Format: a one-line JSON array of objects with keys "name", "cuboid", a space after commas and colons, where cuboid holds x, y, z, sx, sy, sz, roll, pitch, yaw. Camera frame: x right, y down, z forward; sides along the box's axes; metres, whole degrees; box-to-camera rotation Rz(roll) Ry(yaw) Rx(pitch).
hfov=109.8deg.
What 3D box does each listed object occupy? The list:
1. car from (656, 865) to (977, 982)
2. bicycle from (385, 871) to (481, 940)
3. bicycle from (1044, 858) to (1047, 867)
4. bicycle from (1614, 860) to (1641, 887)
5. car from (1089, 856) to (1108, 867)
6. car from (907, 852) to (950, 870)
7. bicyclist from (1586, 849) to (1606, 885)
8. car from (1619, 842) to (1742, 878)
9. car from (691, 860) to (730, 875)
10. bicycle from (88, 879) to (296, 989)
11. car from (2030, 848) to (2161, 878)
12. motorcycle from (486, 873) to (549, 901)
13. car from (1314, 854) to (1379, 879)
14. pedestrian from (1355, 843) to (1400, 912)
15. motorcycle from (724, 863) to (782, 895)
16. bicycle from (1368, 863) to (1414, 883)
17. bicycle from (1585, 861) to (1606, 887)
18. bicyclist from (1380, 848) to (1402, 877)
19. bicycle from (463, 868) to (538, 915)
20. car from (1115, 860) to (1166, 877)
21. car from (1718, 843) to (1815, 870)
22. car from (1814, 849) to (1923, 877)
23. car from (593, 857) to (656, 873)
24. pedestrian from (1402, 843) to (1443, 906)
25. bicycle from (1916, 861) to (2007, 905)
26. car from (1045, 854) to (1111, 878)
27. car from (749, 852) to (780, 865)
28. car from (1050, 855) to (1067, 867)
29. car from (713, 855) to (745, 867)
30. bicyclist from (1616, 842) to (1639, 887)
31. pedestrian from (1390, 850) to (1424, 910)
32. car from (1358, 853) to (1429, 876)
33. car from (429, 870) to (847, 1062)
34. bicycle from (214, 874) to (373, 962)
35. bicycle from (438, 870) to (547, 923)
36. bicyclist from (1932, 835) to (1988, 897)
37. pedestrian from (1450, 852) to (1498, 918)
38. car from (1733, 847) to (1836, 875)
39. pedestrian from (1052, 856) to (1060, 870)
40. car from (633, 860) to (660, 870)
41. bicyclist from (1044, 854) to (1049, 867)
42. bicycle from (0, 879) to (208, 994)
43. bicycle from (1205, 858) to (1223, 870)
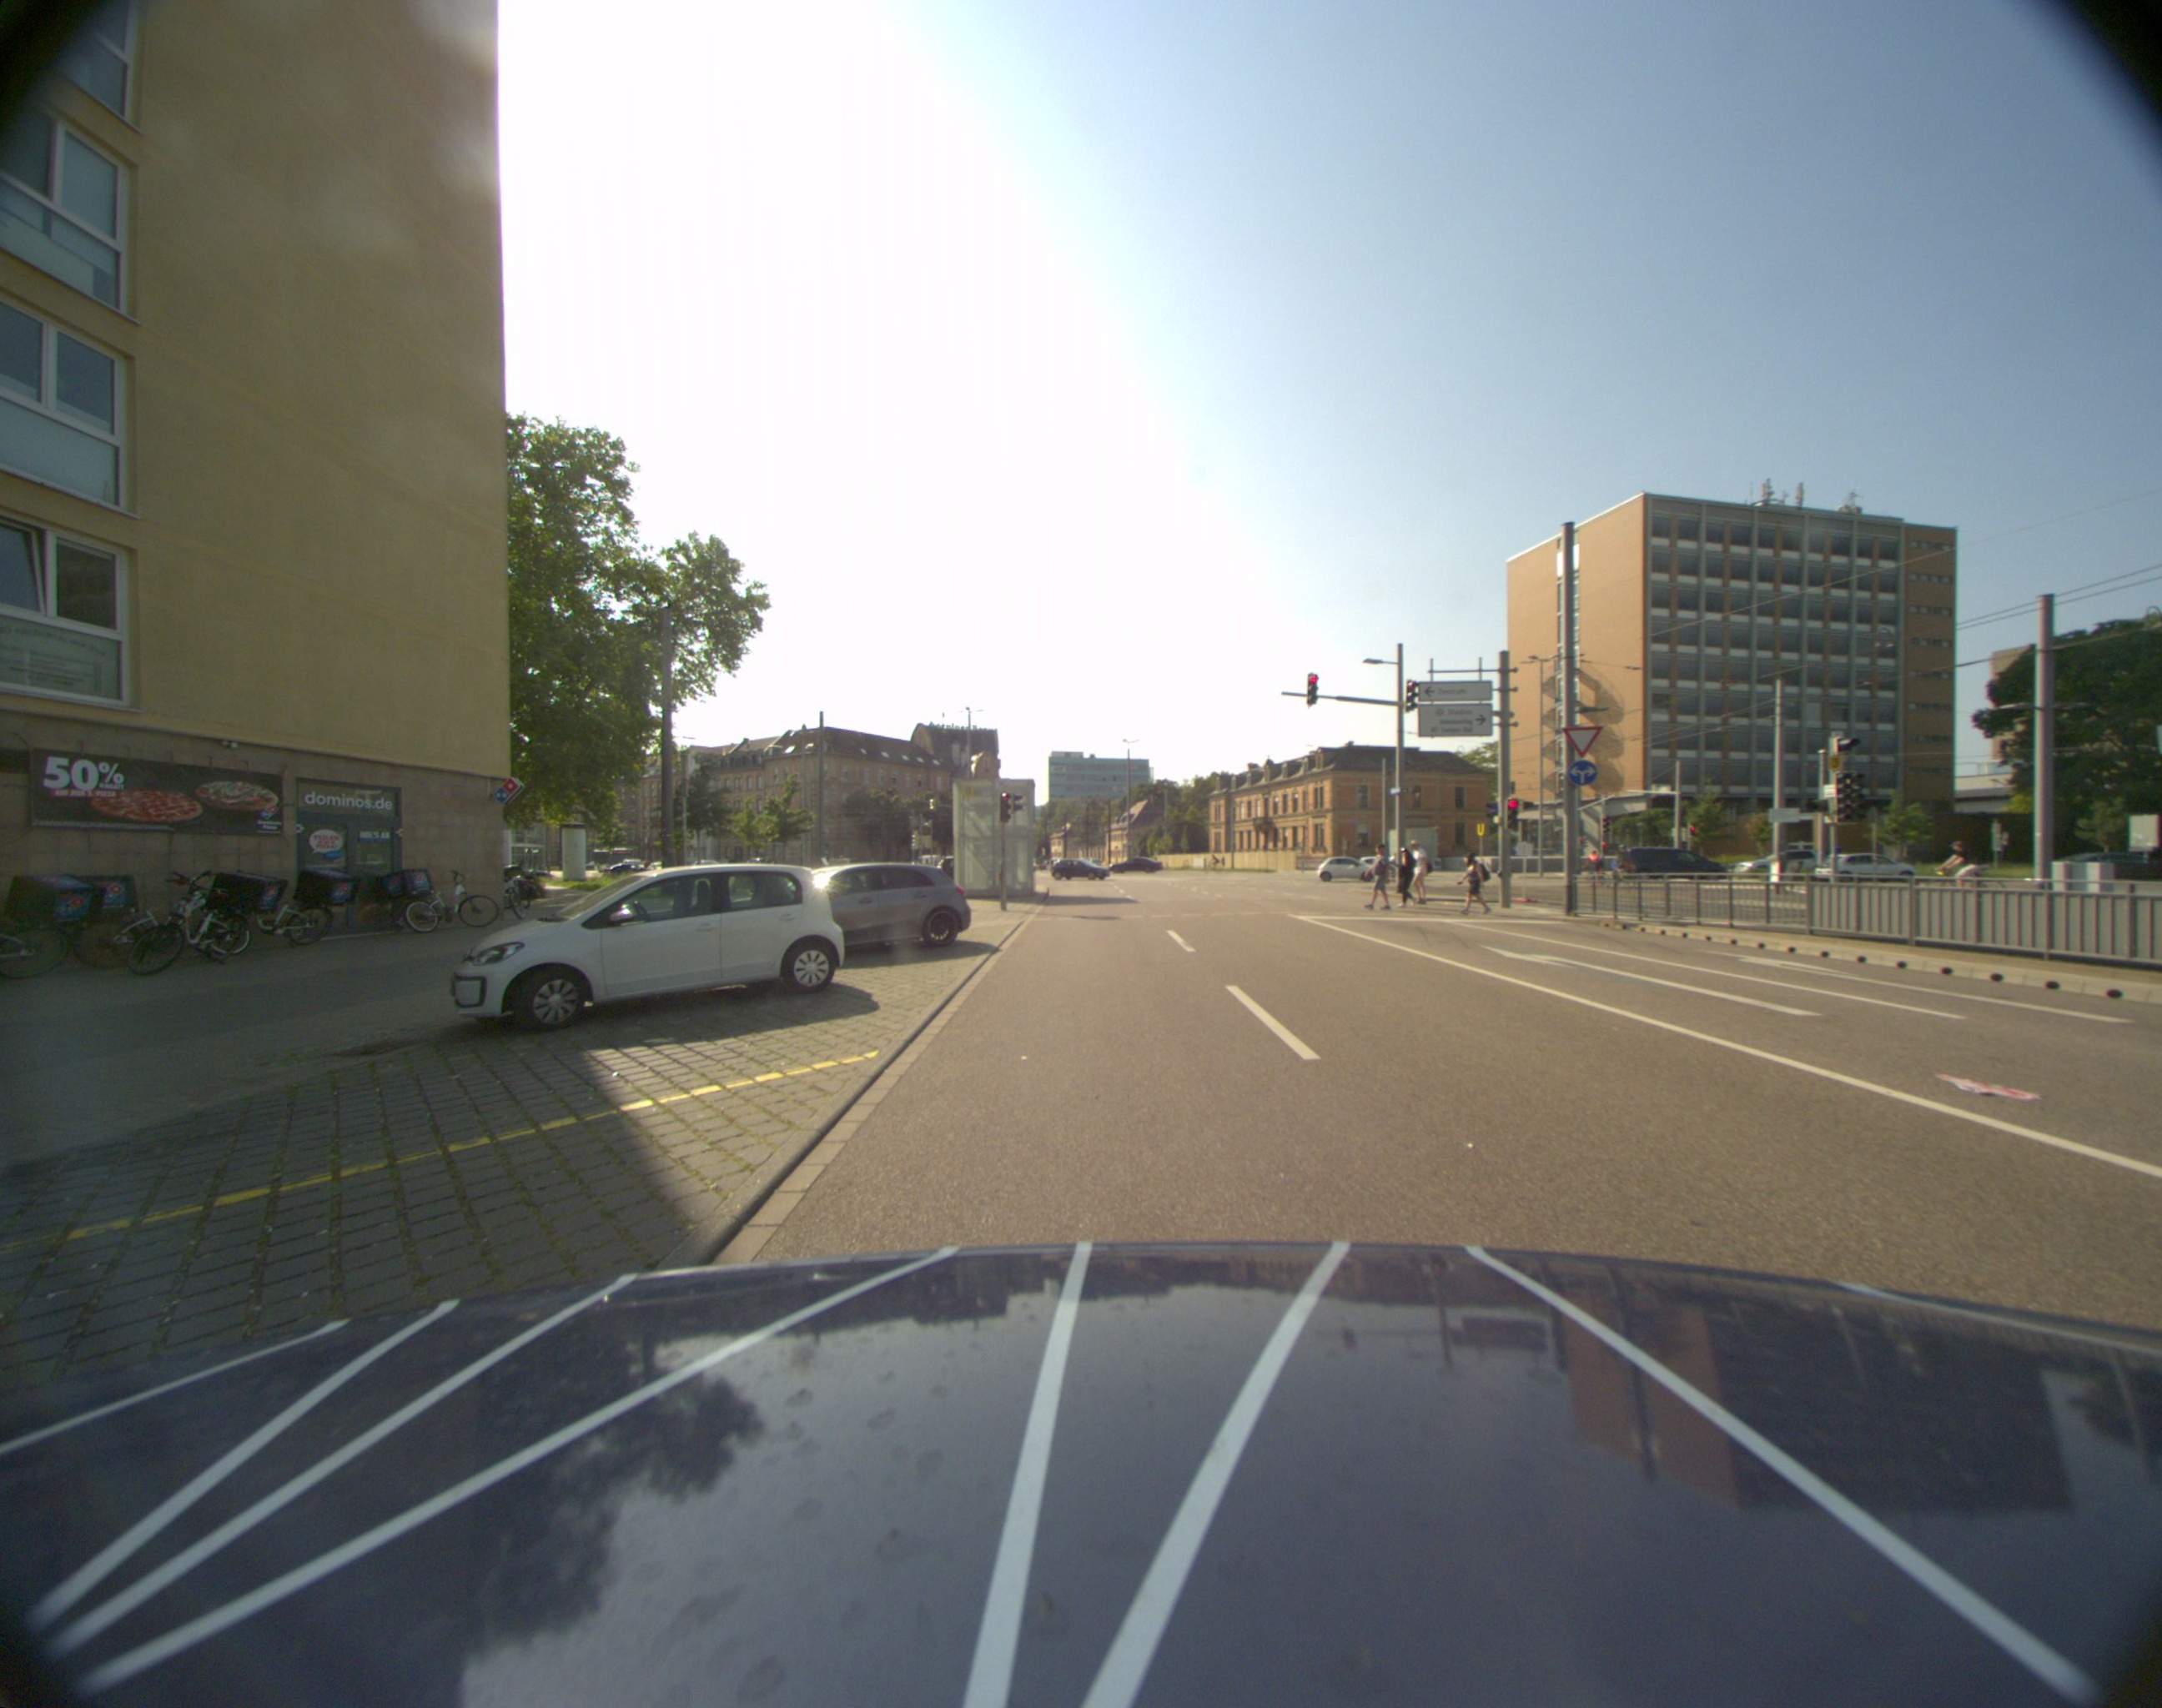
[{"name": "car", "cuboid": [-4.040, 0.940, 12.069, 4.418, 1.415, 1.842, -1, 1, -41]}, {"name": "bicycle", "cuboid": [-12.747, 0.975, 15.007, 0.470, 1.254, 1.636, 0, 0, 0]}, {"name": "bicycle", "cuboid": [-4.469, 1.042, 95.597, 0.401, 1.084, 1.927, 0, 0, -5]}, {"name": "bicycle", "cuboid": [24.483, 0.874, 34.069, 0.376, 1.158, 1.861, 0, 0, 16]}, {"name": "car", "cuboid": [2.033, 0.894, 91.454, 1.693, 1.319, 3.997, 0, 0, -7]}, {"name": "car", "cuboid": [-16.219, 0.773, 80.873, 4.278, 1.875, 1.799, -1, -2, 28]}, {"name": "bicyclist", "cuboid": [23.121, 0.581, 34.110, 0.511, 1.620, 0.808, 0, 0, 15]}, {"name": "car", "cuboid": [31.181, 0.295, 39.693, 4.761, 1.817, 1.806, 0, 0, 24]}, {"name": "car", "cuboid": [-36.560, 1.353, 74.966, 3.621, 1.433, 1.807, 0, 0, 32]}, {"name": "bicycle", "cuboid": [-11.751, 0.998, 10.164, 0.604, 1.254, 1.996, 0, 0, -7]}, {"name": "car", "cuboid": [50.742, 0.422, 37.652, 4.340, 1.443, 1.806, 0, 0, 20]}, {"name": "motorcycle", "cuboid": [-22.106, 1.268, 29.858, 0.704, 0.996, 1.959, 0, 0, 17]}, {"name": "car", "cuboid": [15.851, 0.731, 45.337, 3.607, 1.407, 1.806, 0, 0, 21]}, {"name": "pedestrian", "cuboid": [7.508, 0.583, 19.259, 0.816, 1.683, 0.651, 2, 1, 1]}, {"name": "motorcycle", "cuboid": [-12.471, 0.911, 28.945, 0.704, 1.140, 2.304, 0, 0, 17]}, {"name": "bicycle", "cuboid": [16.200, 1.000, 39.719, 2.192, 0.983, 0.530, 1, 2, 25]}, {"name": "bicycle", "cuboid": [23.156, 0.881, 34.196, 0.311, 1.158, 1.501, 0, 0, 16]}, {"name": "bicyclist", "cuboid": [16.192, 0.423, 39.696, 0.969, 1.467, 1.089, 0, 1, 25]}, {"name": "bicycle", "cuboid": [-16.849, 1.060, 22.116, 0.524, 1.227, 2.300, 0, 0, -4]}, {"name": "car", "cuboid": [5.484, 1.335, 70.121, 4.315, 1.456, 1.677, 0, -2, 20]}, {"name": "car", "cuboid": [44.918, 0.214, 49.908, 4.280, 1.696, 1.929, 0, -2, 18]}, {"name": "car", "cuboid": [41.246, 0.462, 39.883, 3.548, 1.427, 1.806, 0, 0, 20]}, {"name": "car", "cuboid": [-40.353, 0.940, 67.208, 1.994, 1.362, 4.407, 0, 0, 43]}, {"name": "pedestrian", "cuboid": [9.864, 0.578, 21.972, 0.834, 1.778, 0.729, 2, 1, 8]}, {"name": "bicycle", "cuboid": [23.680, 0.758, 20.469, 0.402, 1.103, 1.746, 0, 0, 0]}, {"name": "car", "cuboid": [-0.202, 0.782, 52.020, 3.990, 1.586, 2.003, 0, 0, 24]}, {"name": "car", "cuboid": [-39.805, 0.551, 95.531, 3.964, 1.572, 1.748, 0, -1, 35]}, {"name": "car", "cuboid": [-3.098, 0.897, 104.732, 1.927, 1.626, 3.997, 0, 0, -7]}, {"name": "car", "cuboid": [-46.448, 0.920, 100.226, 4.278, 1.614, 1.819, 0, -1, 32]}, {"name": "bicyclist", "cuboid": [24.384, 0.468, 33.933, 0.580, 1.963, 0.808, 0, 0, 15]}, {"name": "pedestrian", "cuboid": [8.743, 0.692, 20.383, 0.634, 1.588, 0.468, 2, 1, -1]}, {"name": "car", "cuboid": [19.431, 0.643, 47.377, 3.990, 1.407, 1.806, 0, 0, 22]}, {"name": "car", "cuboid": [-4.505, 0.958, 7.997, 3.535, 1.455, 1.618, -1, 1, -41]}, {"name": "bicycle", "cuboid": [-12.545, 0.976, 12.194, 0.604, 1.254, 1.849, 0, 0, 0]}, {"name": "bicycle", "cuboid": [-13.644, 0.972, 17.651, 2.022, 1.199, 0.671, 0, 0, 1]}, {"name": "bicyclist", "cuboid": [23.654, 0.319, 20.465, 0.588, 1.647, 0.790, 0, 1, 1]}, {"name": "pedestrian", "cuboid": [9.477, 0.727, 18.323, 0.810, 1.539, 0.548, 2, 1, 2]}, {"name": "car", "cuboid": [43.724, 0.448, 47.321, 4.281, 1.696, 1.955, 0, -2, 17]}, {"name": "pedestrian", "cuboid": [-2.950, 1.052, 89.433, 0.791, 1.677, 0.662, 0, 1, 28]}, {"name": "car", "cuboid": [-62.252, 1.591, 108.846, 3.770, 1.439, 1.680, 0, 0, 31]}, {"name": "bicyclist", "cuboid": [-4.359, 0.837, 95.666, 0.662, 1.627, 0.918, 0, 0, -6]}, {"name": "bicycle", "cuboid": [-12.460, 0.975, 9.651, 0.604, 1.254, 1.996, 0, 0, -7]}, {"name": "bicycle", "cuboid": [13.202, 0.969, 75.419, 1.768, 1.187, 0.402, 0, 1, 22]}]
